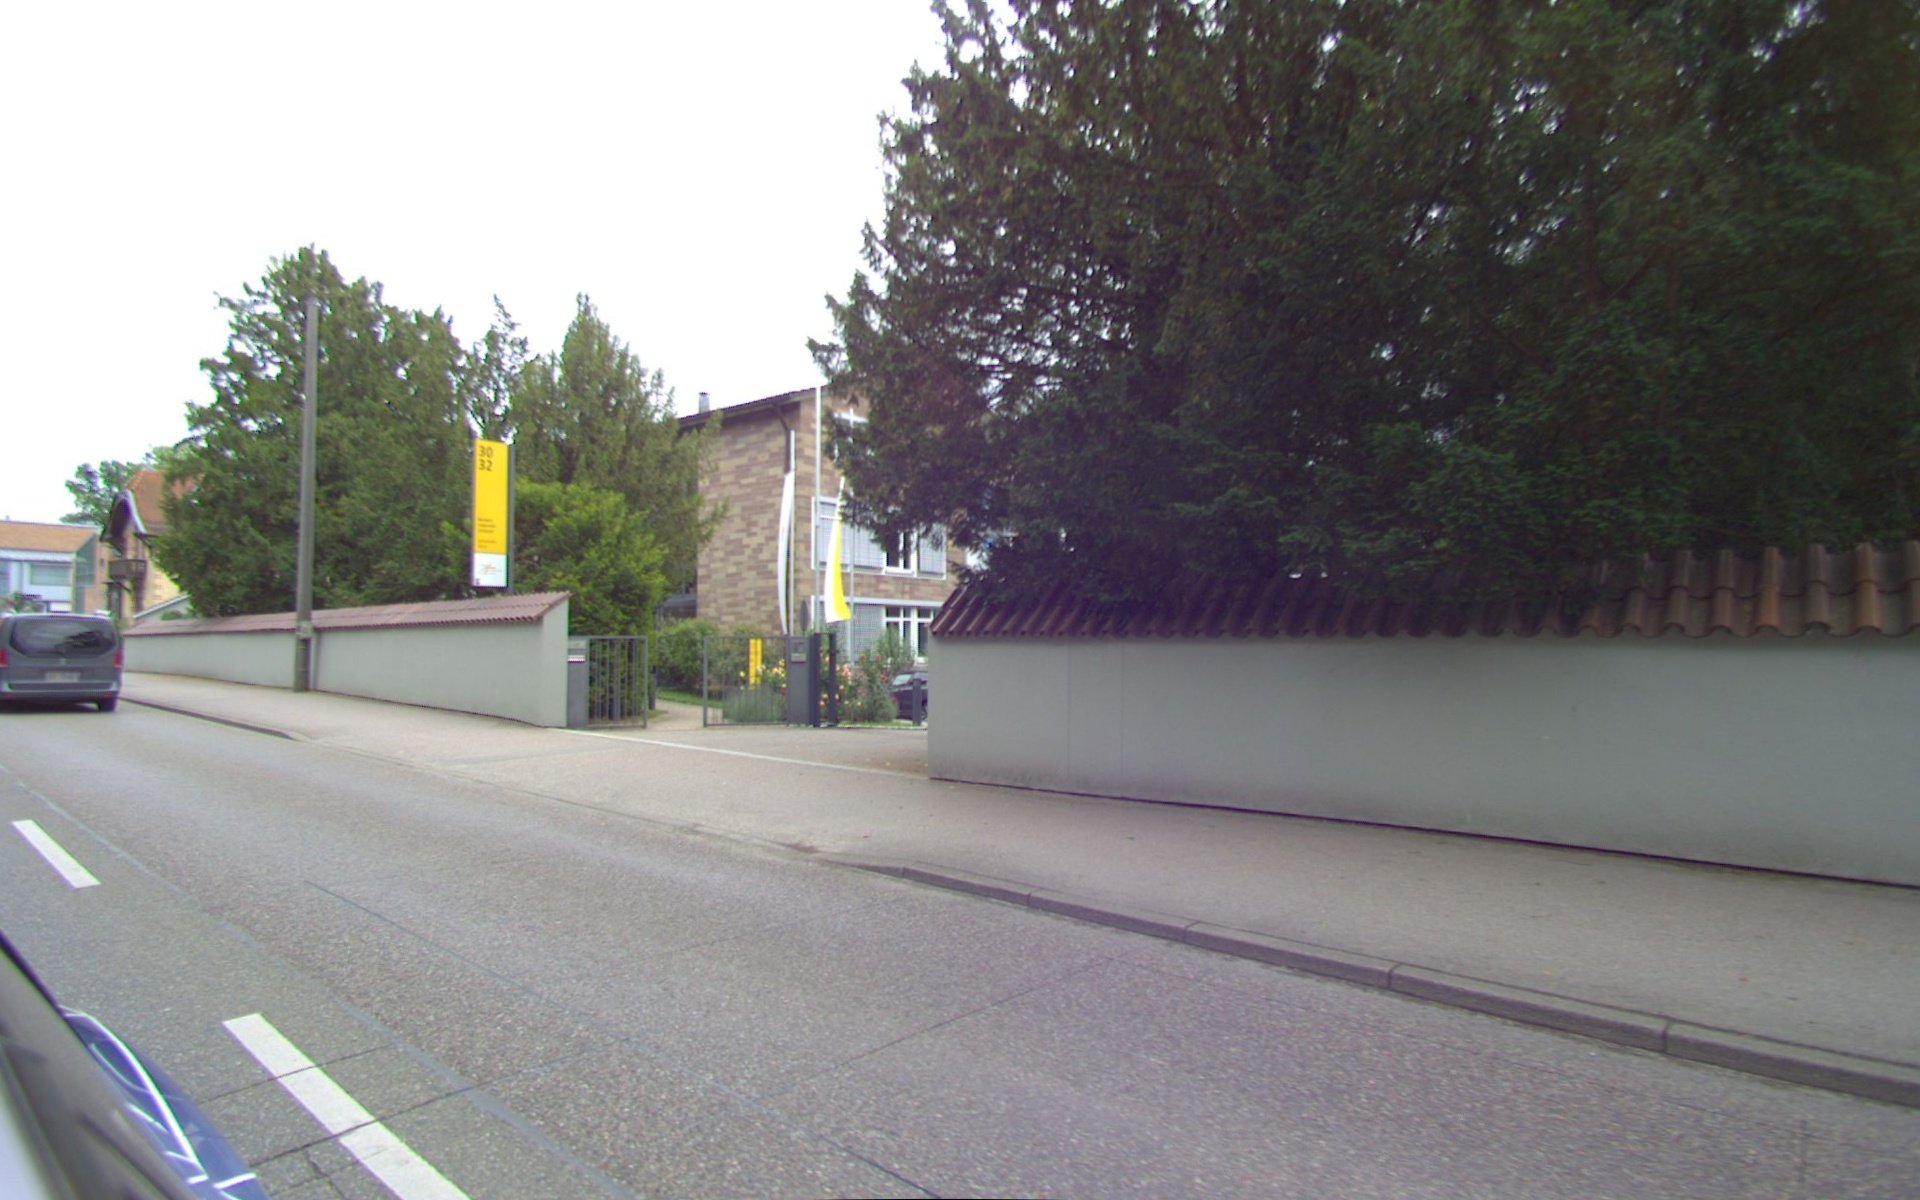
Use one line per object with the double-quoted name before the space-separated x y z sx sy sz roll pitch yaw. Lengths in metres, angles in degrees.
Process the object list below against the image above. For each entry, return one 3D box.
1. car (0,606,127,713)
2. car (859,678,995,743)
"car" -18.278 1.144 19.988 5.079 1.870 1.871 -2 -5 40
"car" -0.924 2.823 26.252 1.623 1.517 3.866 5 -6 -36
